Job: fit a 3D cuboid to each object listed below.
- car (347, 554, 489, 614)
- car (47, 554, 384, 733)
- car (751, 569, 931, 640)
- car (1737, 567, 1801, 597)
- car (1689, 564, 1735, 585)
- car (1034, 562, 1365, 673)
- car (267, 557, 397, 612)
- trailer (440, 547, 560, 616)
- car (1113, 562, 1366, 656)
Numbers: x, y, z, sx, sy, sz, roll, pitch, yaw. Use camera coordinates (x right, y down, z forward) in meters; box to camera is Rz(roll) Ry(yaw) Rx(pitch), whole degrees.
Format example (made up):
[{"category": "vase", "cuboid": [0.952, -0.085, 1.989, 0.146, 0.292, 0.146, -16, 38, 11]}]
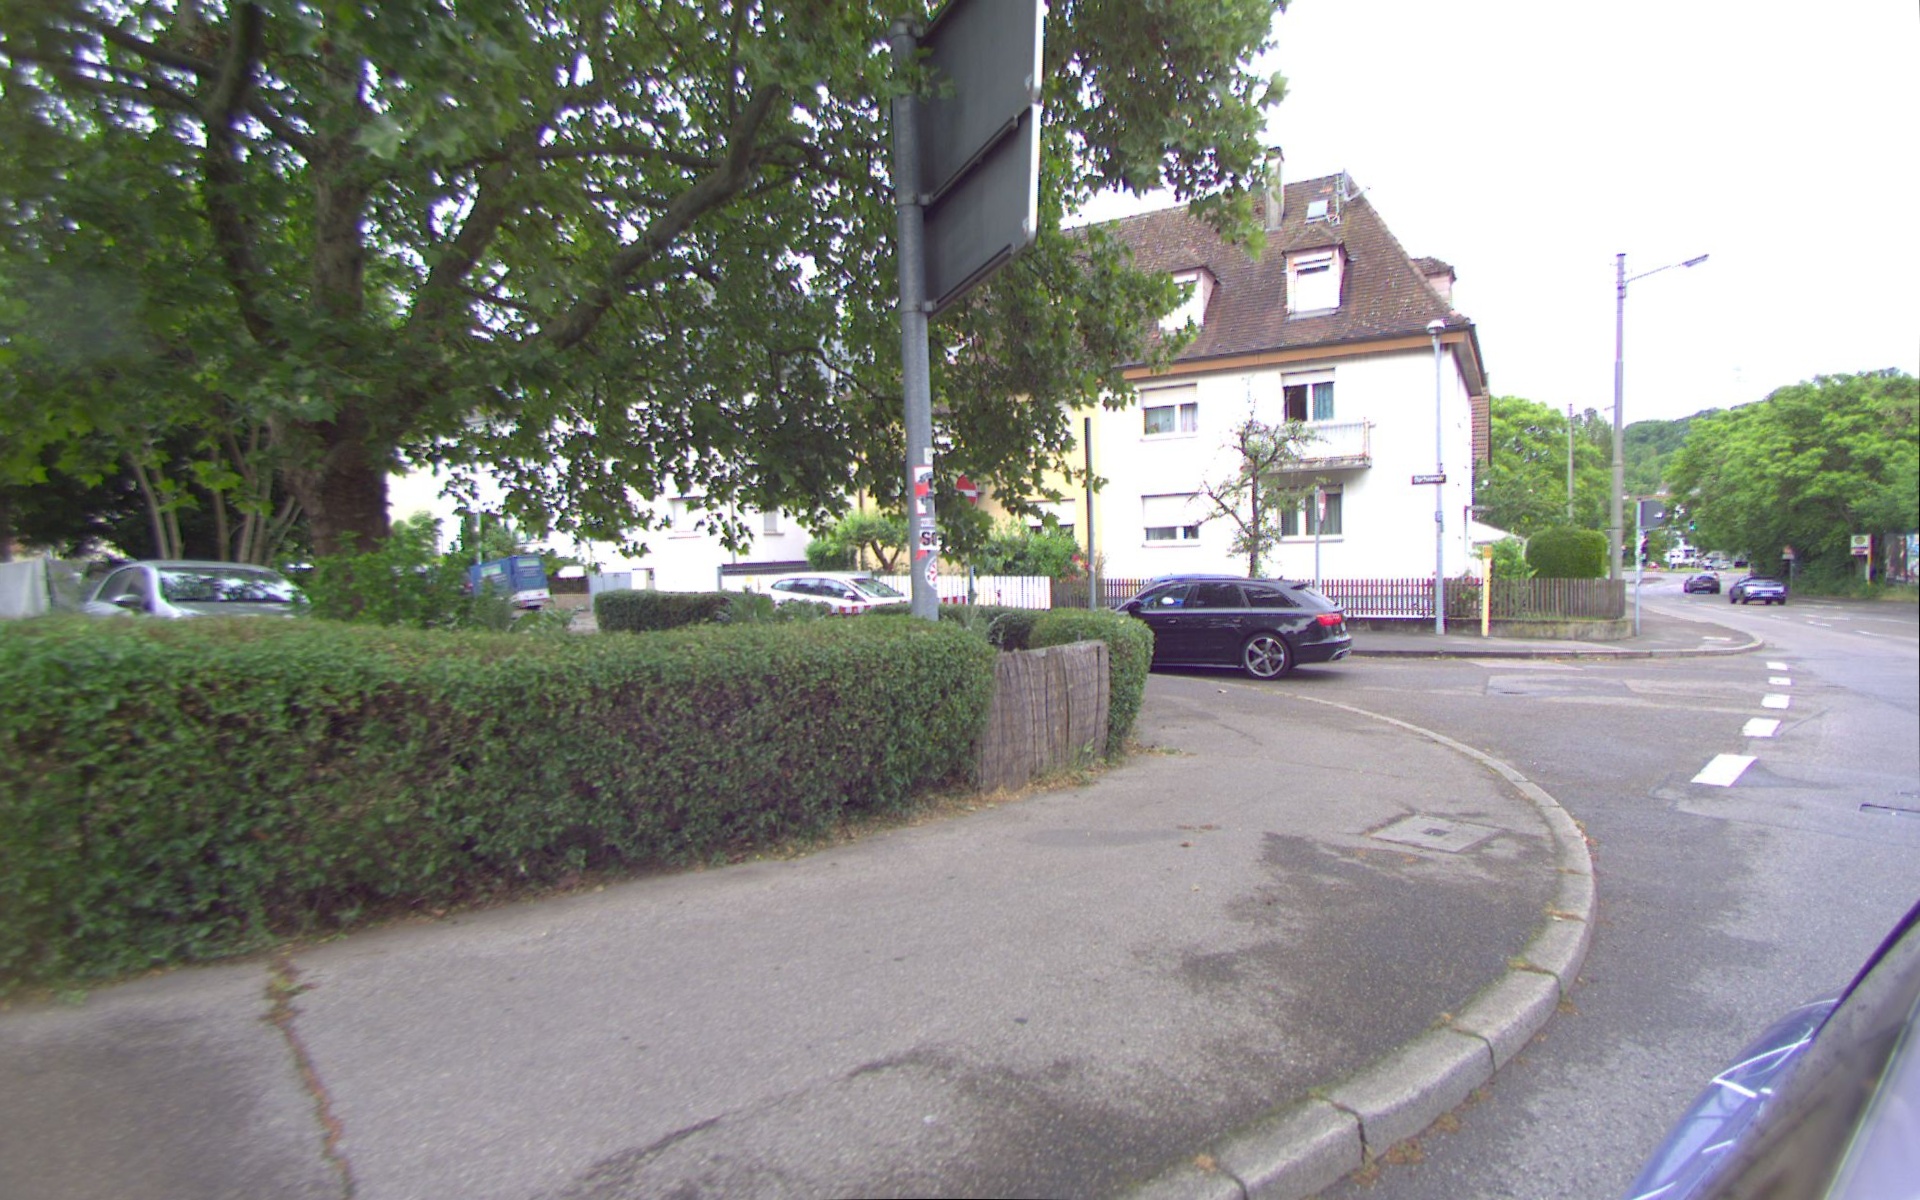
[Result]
[{"category": "car", "cuboid": [-18.031, -0.557, 33.642, 4.536, 1.862, 1.981, 1, 2, 28]}, {"category": "car", "cuboid": [-8.137, 0.332, 10.968, 3.974, 1.599, 1.800, 1, 2, 35]}, {"category": "car", "cuboid": [-2.686, 0.058, 22.747, 3.753, 1.471, 1.754, 1, 1, 30]}, {"category": "car", "cuboid": [41.814, -0.946, 52.414, 1.884, 1.479, 3.961, 1, 2, 29]}, {"category": "car", "cuboid": [58.250, -1.945, 78.462, 1.981, 1.461, 4.730, 4, 2, 27]}, {"category": "car", "cuboid": [3.719, 0.174, 15.845, 4.768, 1.498, 1.870, 1, 2, 26]}, {"category": "car", "cuboid": [-22.581, -0.588, 36.391, 4.536, 1.862, 1.981, 1, 2, 28]}, {"category": "trailer", "cuboid": [-14.462, -0.600, 31.807, 3.456, 2.038, 1.657, 1, 1, 27]}, {"category": "car", "cuboid": [5.053, 0.086, 18.439, 4.096, 1.498, 1.864, 2, 2, 33]}]
